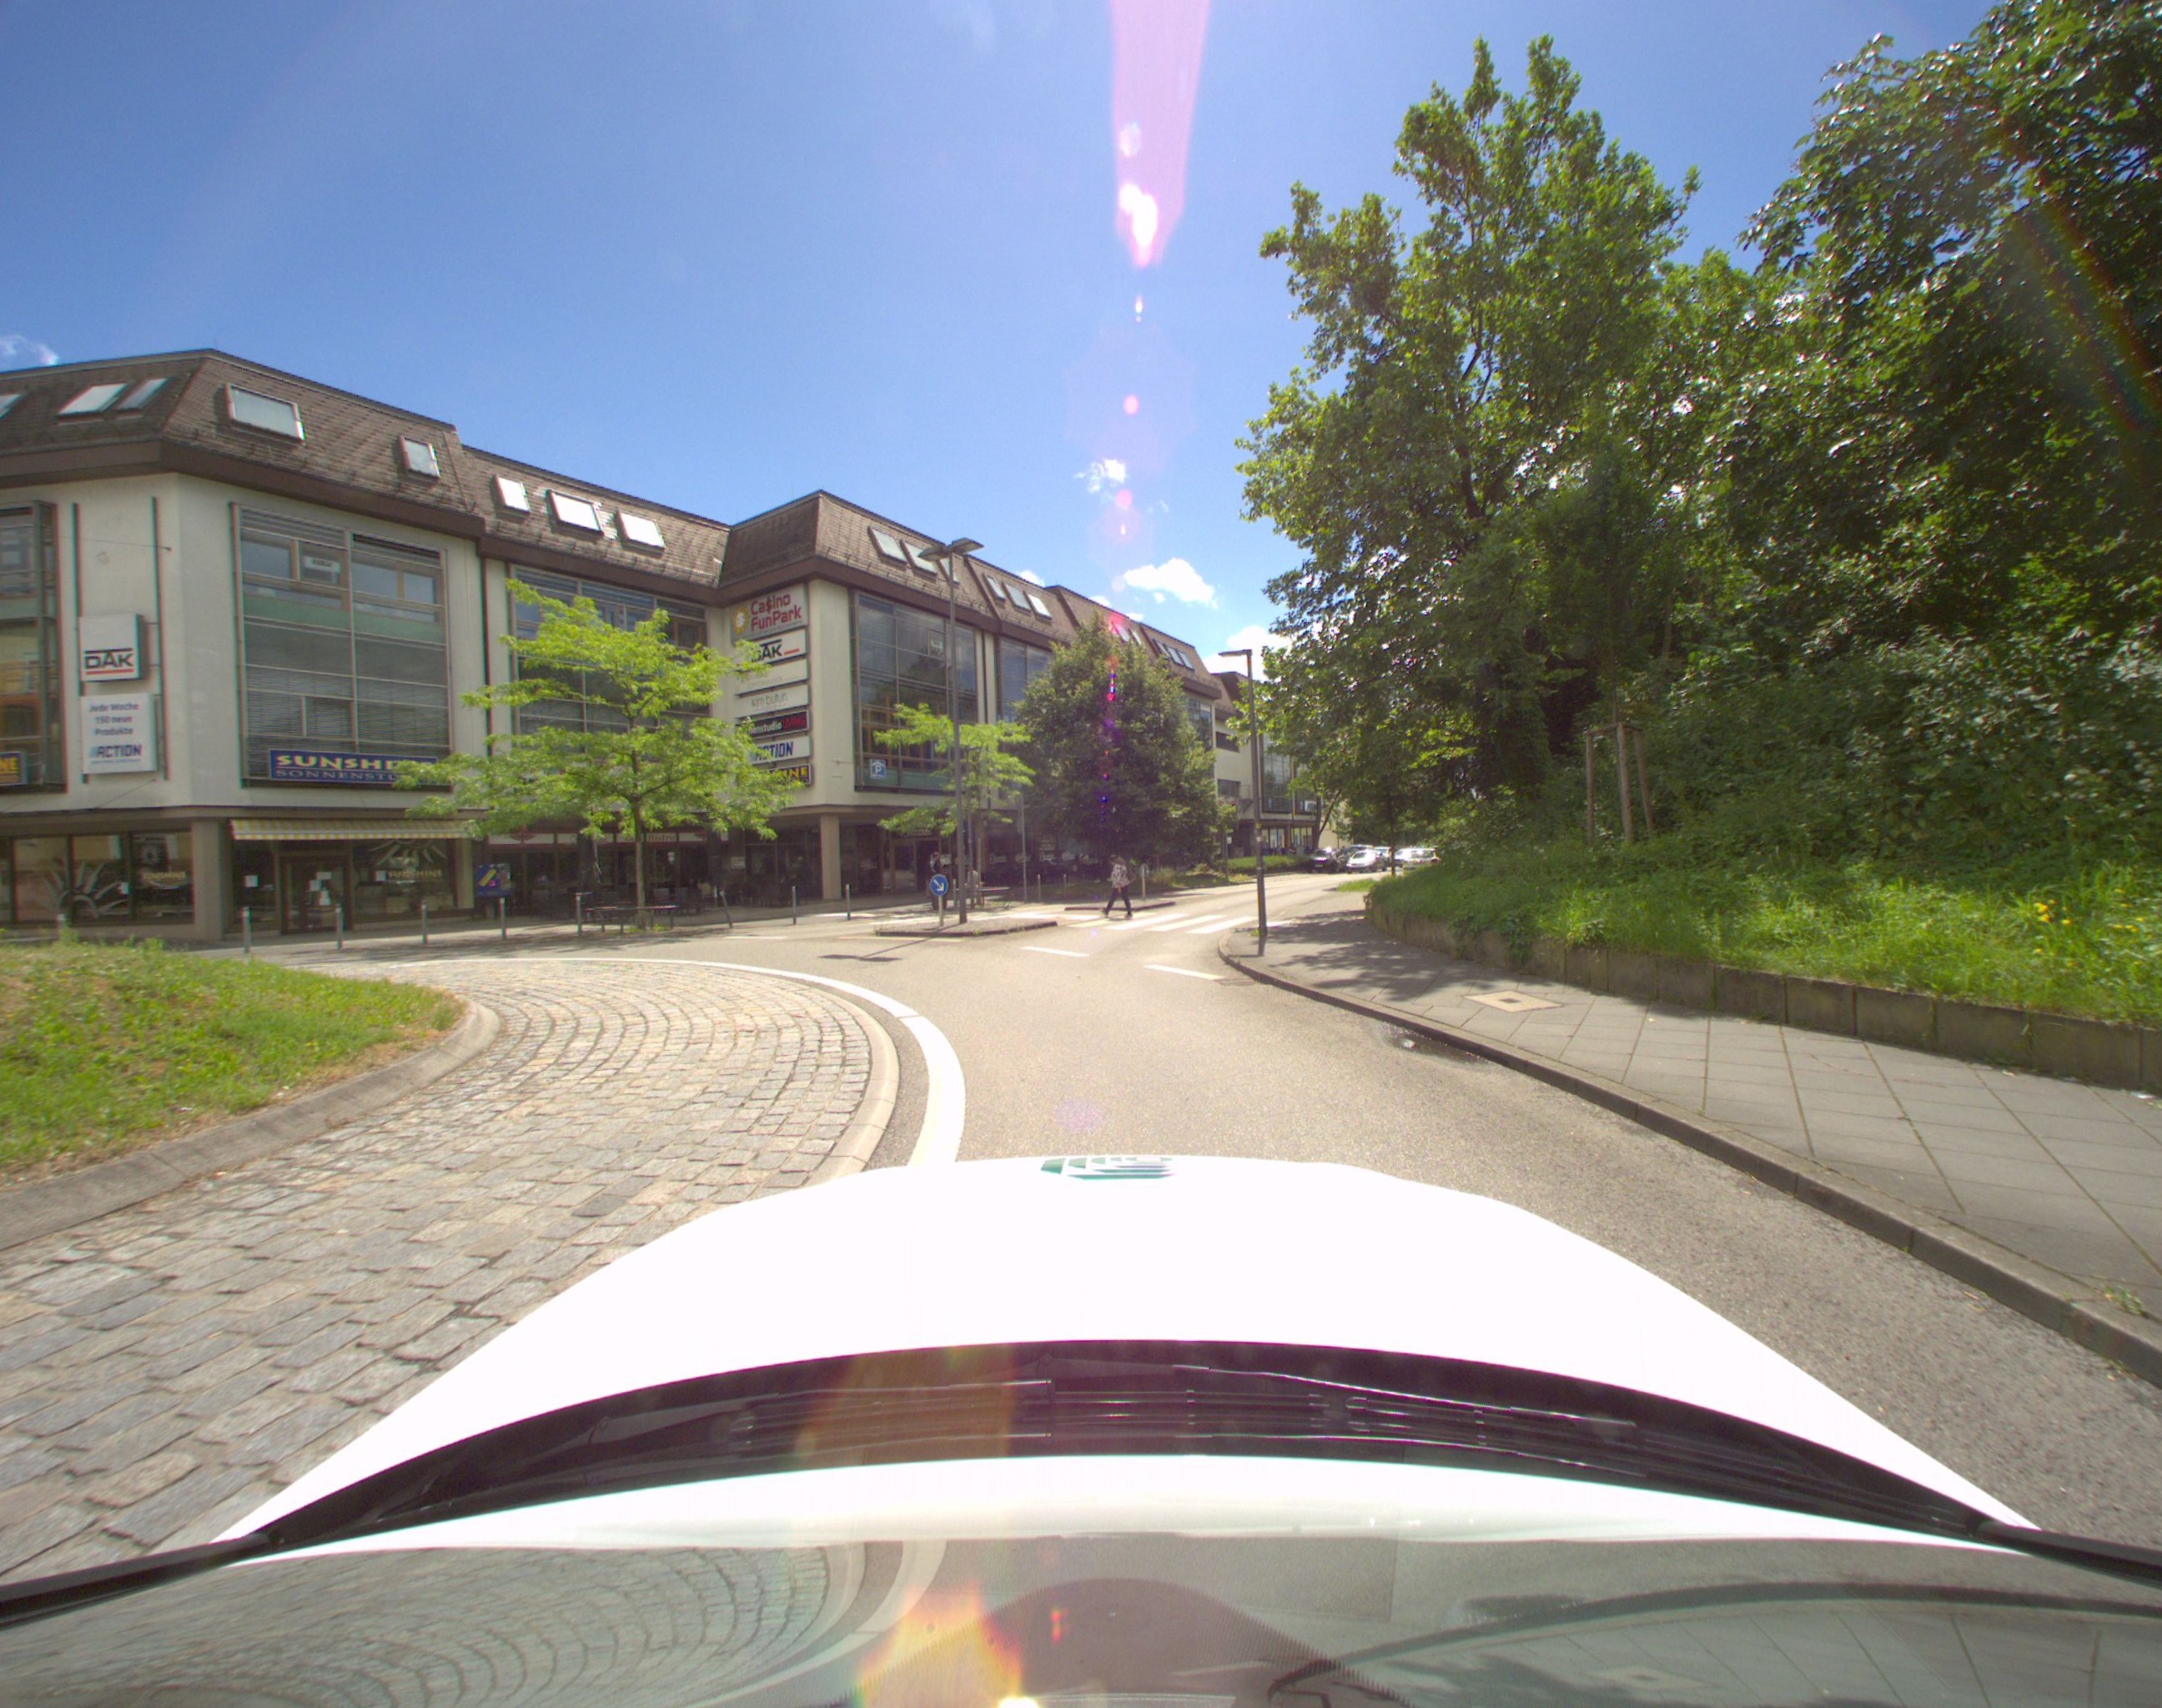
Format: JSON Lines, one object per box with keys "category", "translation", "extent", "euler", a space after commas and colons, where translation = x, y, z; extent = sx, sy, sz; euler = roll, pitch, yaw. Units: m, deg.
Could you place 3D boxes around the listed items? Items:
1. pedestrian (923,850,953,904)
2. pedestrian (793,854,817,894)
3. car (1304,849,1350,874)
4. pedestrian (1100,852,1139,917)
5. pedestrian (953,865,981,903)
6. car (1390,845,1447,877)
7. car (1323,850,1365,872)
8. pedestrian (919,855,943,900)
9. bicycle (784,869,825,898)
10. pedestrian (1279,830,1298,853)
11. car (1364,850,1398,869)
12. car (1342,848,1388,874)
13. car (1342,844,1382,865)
{"category": "pedestrian", "translation": [-5.012, 0.791, 28.572], "extent": [0.689, 1.818, 0.621], "euler": [-1, 4, 36]}
{"category": "pedestrian", "translation": [-11.574, 0.826, 34.117], "extent": [0.609, 1.674, 0.702], "euler": [-1, 0, 31]}
{"category": "car", "translation": [16.531, 0.475, 54.550], "extent": [1.974, 1.508, 4.613], "euler": [-1, 0, 29]}
{"category": "pedestrian", "translation": [0.945, 0.737, 20.083], "extent": [0.764, 1.554, 0.776], "euler": [-1, 0, -12]}
{"category": "pedestrian", "translation": [-3.908, 1.018, 27.911], "extent": [0.689, 1.285, 0.621], "euler": [-1, 0, 43]}
{"category": "car", "translation": [16.498, 0.307, 39.676], "extent": [1.734, 1.330, 4.026], "euler": [-5, -2, 33]}
{"category": "car", "translation": [19.075, 0.481, 58.889], "extent": [1.974, 1.508, 4.613], "euler": [-1, 0, 29]}
{"category": "pedestrian", "translation": [-5.680, 0.883, 30.928], "extent": [0.610, 1.674, 0.701], "euler": [-1, 0, 18]}
{"category": "bicycle", "translation": [-11.493, 1.228, 33.870], "extent": [1.541, 1.168, 0.493], "euler": [-1, -1, -16]}
{"category": "pedestrian", "translation": [18.555, -1.105, 72.744], "extent": [1.331, 2.014, 1.095], "euler": [-2, -1, 30]}
{"category": "car", "translation": [25.634, 0.428, 69.529], "extent": [1.974, 1.508, 4.613], "euler": [-1, 0, 29]}
{"category": "car", "translation": [18.271, 0.413, 52.309], "extent": [1.974, 1.508, 4.613], "euler": [-2, 0, 29]}
{"category": "car", "translation": [22.258, 0.022, 64.405], "extent": [1.974, 1.508, 4.614], "euler": [-1, 0, 32]}
